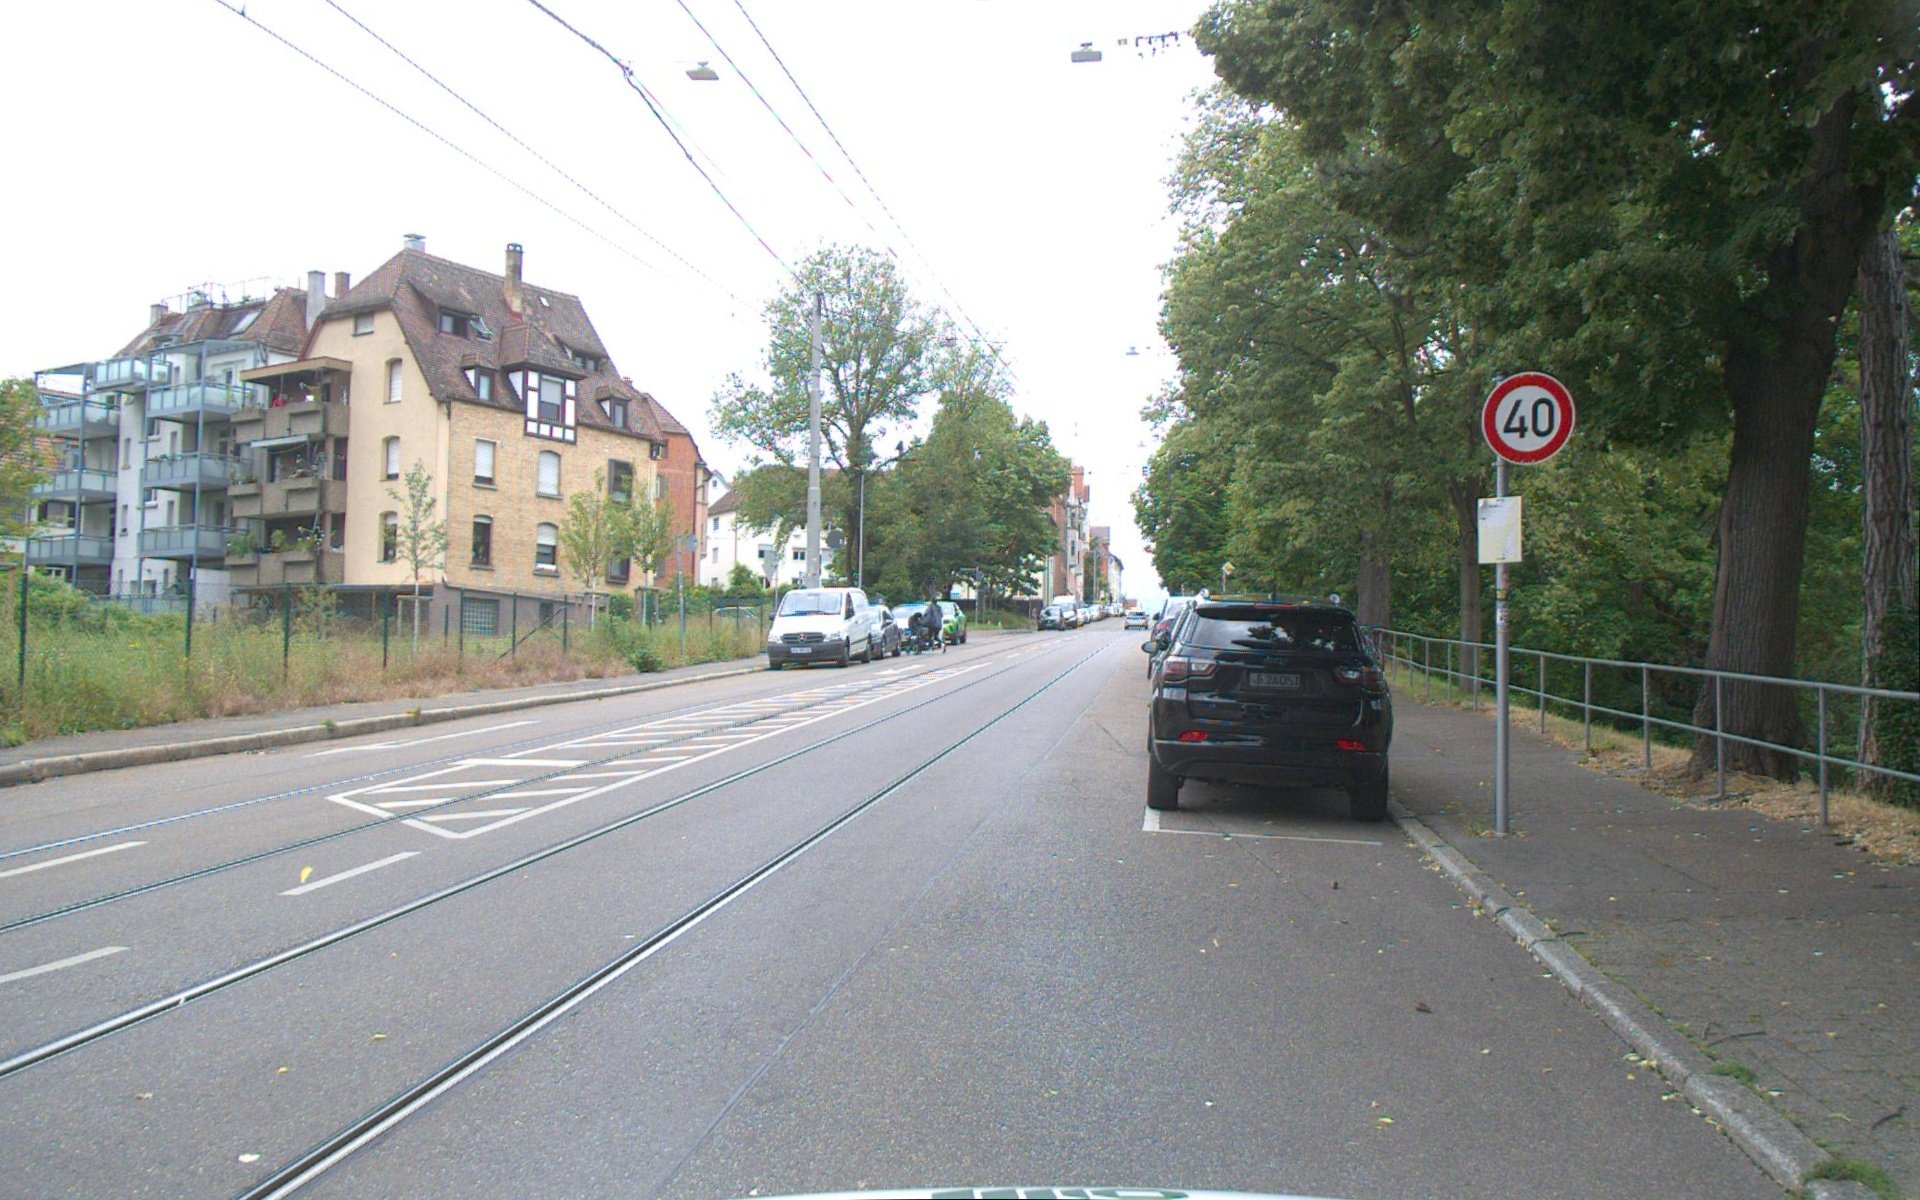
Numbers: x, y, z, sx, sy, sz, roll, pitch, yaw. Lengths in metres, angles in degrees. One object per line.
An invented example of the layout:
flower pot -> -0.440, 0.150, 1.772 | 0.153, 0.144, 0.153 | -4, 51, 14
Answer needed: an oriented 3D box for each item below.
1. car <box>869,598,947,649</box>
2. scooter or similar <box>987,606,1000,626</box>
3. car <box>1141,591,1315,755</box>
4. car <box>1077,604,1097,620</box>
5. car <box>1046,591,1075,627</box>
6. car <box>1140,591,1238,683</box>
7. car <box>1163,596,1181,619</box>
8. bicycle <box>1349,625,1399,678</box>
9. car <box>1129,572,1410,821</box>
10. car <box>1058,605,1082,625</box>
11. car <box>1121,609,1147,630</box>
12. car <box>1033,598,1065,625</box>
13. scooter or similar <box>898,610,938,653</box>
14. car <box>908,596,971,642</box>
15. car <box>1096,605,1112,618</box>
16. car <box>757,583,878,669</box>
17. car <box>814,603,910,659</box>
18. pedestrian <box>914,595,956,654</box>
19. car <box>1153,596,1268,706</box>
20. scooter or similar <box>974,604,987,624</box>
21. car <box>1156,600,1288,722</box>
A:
car -> -1.645, 0.763, 54.314 | 1.845, 1.553, 4.667 | -1, -1, 7
scooter or similar -> 2.323, 1.106, 115.729 | 0.676, 1.362, 1.640 | 1, -1, 8
car -> 2.943, 0.746, 18.753 | 1.697, 1.603, 4.368 | 1, 0, 7
car -> 13.695, 1.278, 178.050 | 1.883, 1.629, 4.003 | 1, -1, 7
car -> 8.209, 0.789, 134.530 | 2.183, 2.813, 5.802 | 1, -1, 5
car -> 4.842, 0.733, 35.131 | 1.837, 1.707, 5.066 | 3, 0, 8
car -> 23.877, 0.863, 186.294 | 1.951, 2.619, 4.708 | 0, -1, 8
bicycle -> 7.996, 0.982, 32.002 | 0.418, 0.993, 1.794 | 1, -1, -3
car -> 2.458, 0.666, 13.687 | 1.863, 1.643, 4.603 | 2, 0, 8
car -> 9.635, 1.326, 144.747 | 1.951, 1.628, 4.314 | 1, -1, 5
car -> 13.661, 1.534, 129.542 | 1.951, 1.525, 4.315 | 1, -1, 7
car -> 6.491, 0.866, 120.161 | 1.951, 1.840, 4.003 | 1, -1, 8
scooter or similar -> -1.226, 0.915, 48.194 | 0.800, 1.217, 0.827 | 2, -1, -41
car -> -0.715, 0.676, 59.930 | 1.686, 1.607, 4.184 | -1, 0, 7
car -> 18.939, 1.465, 217.260 | 1.951, 1.629, 4.003 | 1, -1, 7
car -> -3.391, 0.641, 40.353 | 1.992, 1.914, 4.888 | -2, -1, 6
car -> -2.666, 0.840, 46.107 | 1.856, 1.458, 4.514 | -1, 0, 7
pedestrian -> -0.713, 0.700, 47.501 | 0.800, 1.657, 0.903 | 2, -2, -41
car -> 4.333, 0.834, 29.116 | 1.690, 1.659, 4.091 | 4, 0, 6
scooter or similar -> 1.407, 1.006, 115.912 | 0.676, 1.362, 1.640 | 1, -1, 8
car -> 3.757, 0.822, 24.256 | 1.595, 1.543, 4.066 | 3, 0, 5
